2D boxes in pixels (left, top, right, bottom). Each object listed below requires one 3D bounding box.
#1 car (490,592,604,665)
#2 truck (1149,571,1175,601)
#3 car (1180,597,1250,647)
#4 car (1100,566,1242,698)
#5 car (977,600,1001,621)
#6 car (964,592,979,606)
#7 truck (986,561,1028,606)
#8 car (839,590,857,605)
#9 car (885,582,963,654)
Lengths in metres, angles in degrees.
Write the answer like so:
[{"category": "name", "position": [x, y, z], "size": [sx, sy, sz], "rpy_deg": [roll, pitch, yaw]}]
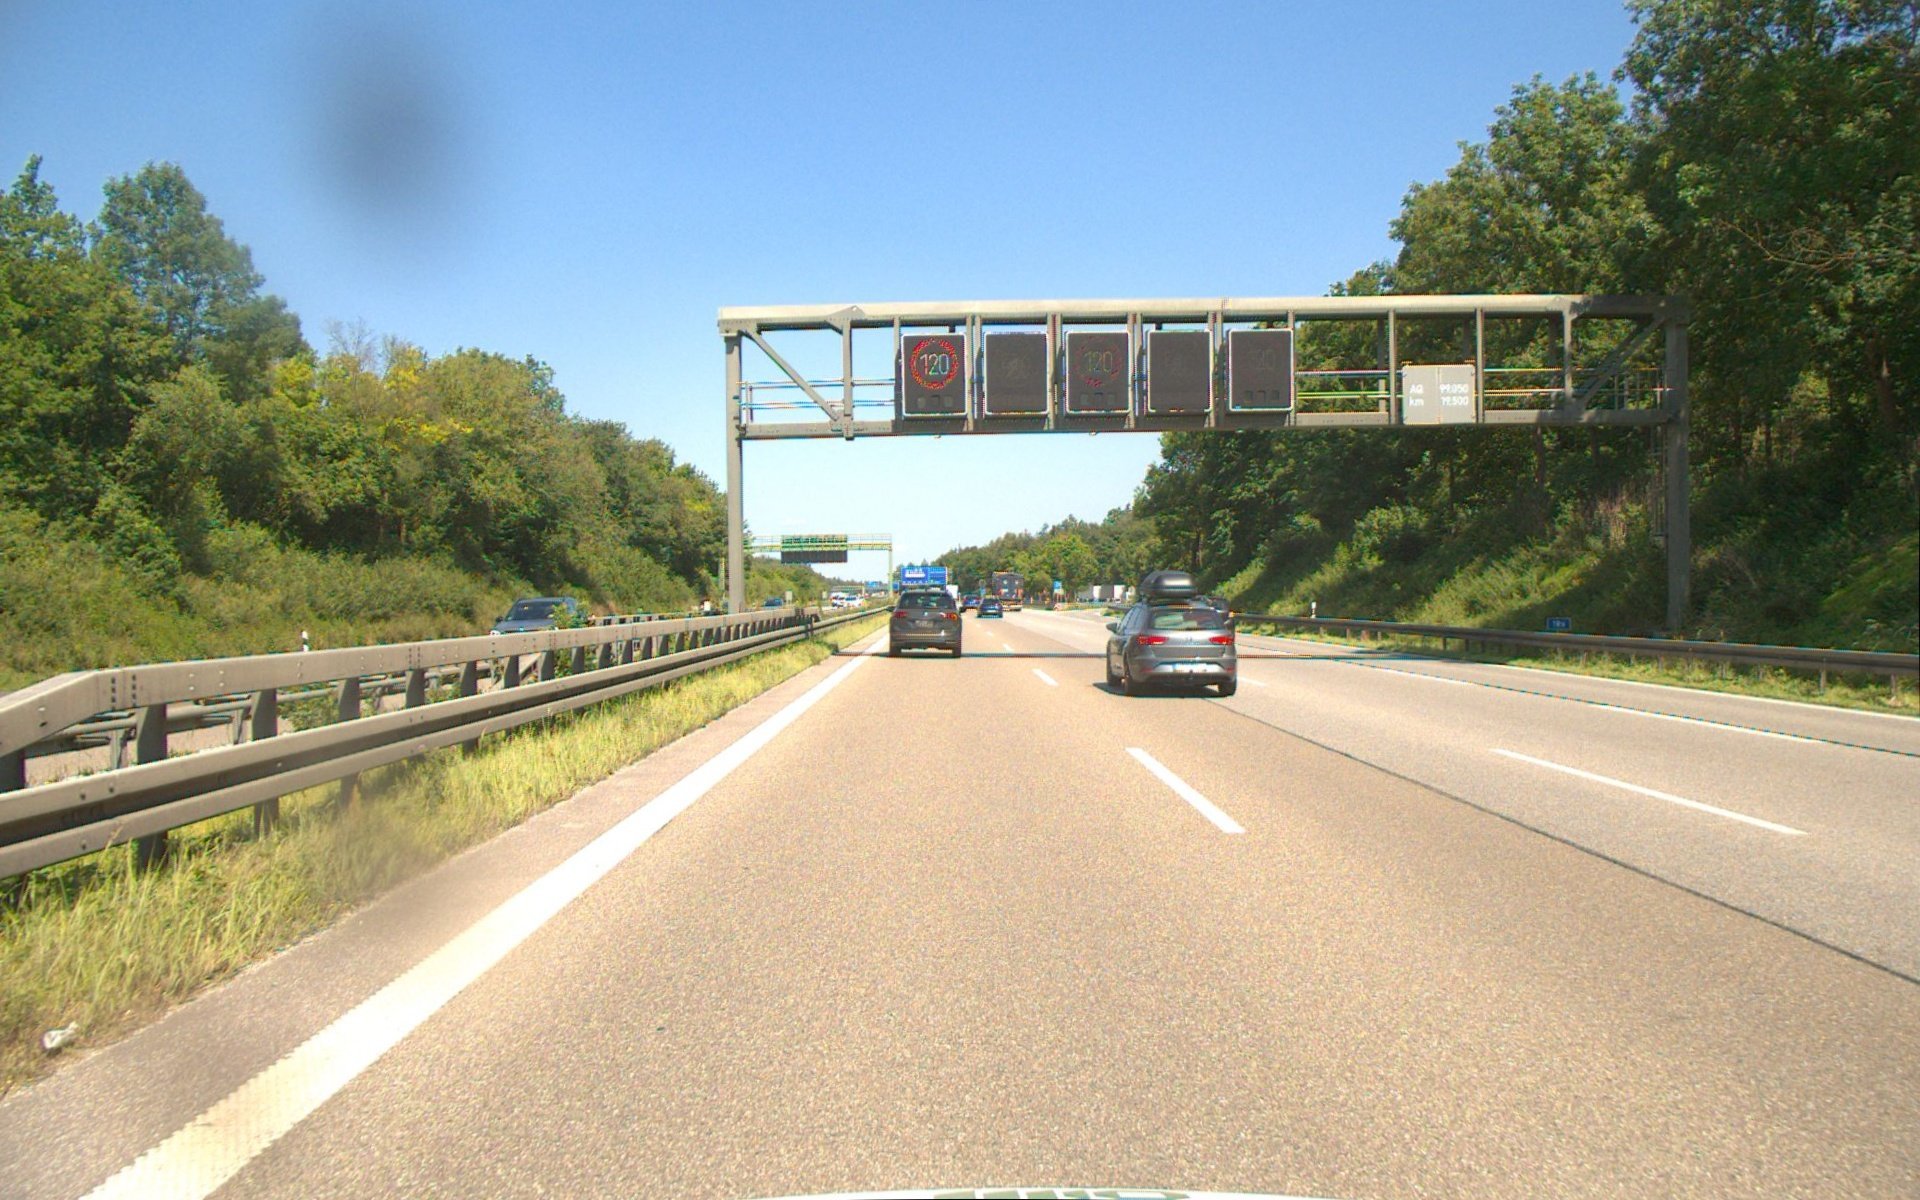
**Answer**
[{"category": "car", "position": [-9.978, 0.645, 40.290], "size": [1.726, 1.646, 4.230], "rpy_deg": [-1, 0, -1]}, {"category": "truck", "position": [28.854, -1.996, 236.162], "size": [3.215, 4.016, 9.359], "rpy_deg": [-1, 0, 9]}, {"category": "car", "position": [8.516, 0.708, 55.539], "size": [1.728, 1.595, 4.259], "rpy_deg": [1, 0, 1]}, {"category": "car", "position": [3.330, 0.450, 26.911], "size": [1.631, 1.909, 4.827], "rpy_deg": [-1, 0, 0]}, {"category": "car", "position": [2.081, 0.730, 118.641], "size": [1.728, 1.406, 4.259], "rpy_deg": [1, 0, 1]}, {"category": "car", "position": [1.189, -0.097, 173.464], "size": [1.441, 1.422, 3.409], "rpy_deg": [2, 0, -2]}, {"category": "truck", "position": [4.882, -1.697, 174.623], "size": [3.704, 4.499, 14.046], "rpy_deg": [0, 0, -2]}, {"category": "car", "position": [-13.220, -0.322, 194.869], "size": [1.775, 1.645, 3.913], "rpy_deg": [-3, 0, 0]}, {"category": "car", "position": [-0.846, 0.411, 41.469], "size": [1.762, 1.698, 4.259], "rpy_deg": [1, 0, 1]}]
